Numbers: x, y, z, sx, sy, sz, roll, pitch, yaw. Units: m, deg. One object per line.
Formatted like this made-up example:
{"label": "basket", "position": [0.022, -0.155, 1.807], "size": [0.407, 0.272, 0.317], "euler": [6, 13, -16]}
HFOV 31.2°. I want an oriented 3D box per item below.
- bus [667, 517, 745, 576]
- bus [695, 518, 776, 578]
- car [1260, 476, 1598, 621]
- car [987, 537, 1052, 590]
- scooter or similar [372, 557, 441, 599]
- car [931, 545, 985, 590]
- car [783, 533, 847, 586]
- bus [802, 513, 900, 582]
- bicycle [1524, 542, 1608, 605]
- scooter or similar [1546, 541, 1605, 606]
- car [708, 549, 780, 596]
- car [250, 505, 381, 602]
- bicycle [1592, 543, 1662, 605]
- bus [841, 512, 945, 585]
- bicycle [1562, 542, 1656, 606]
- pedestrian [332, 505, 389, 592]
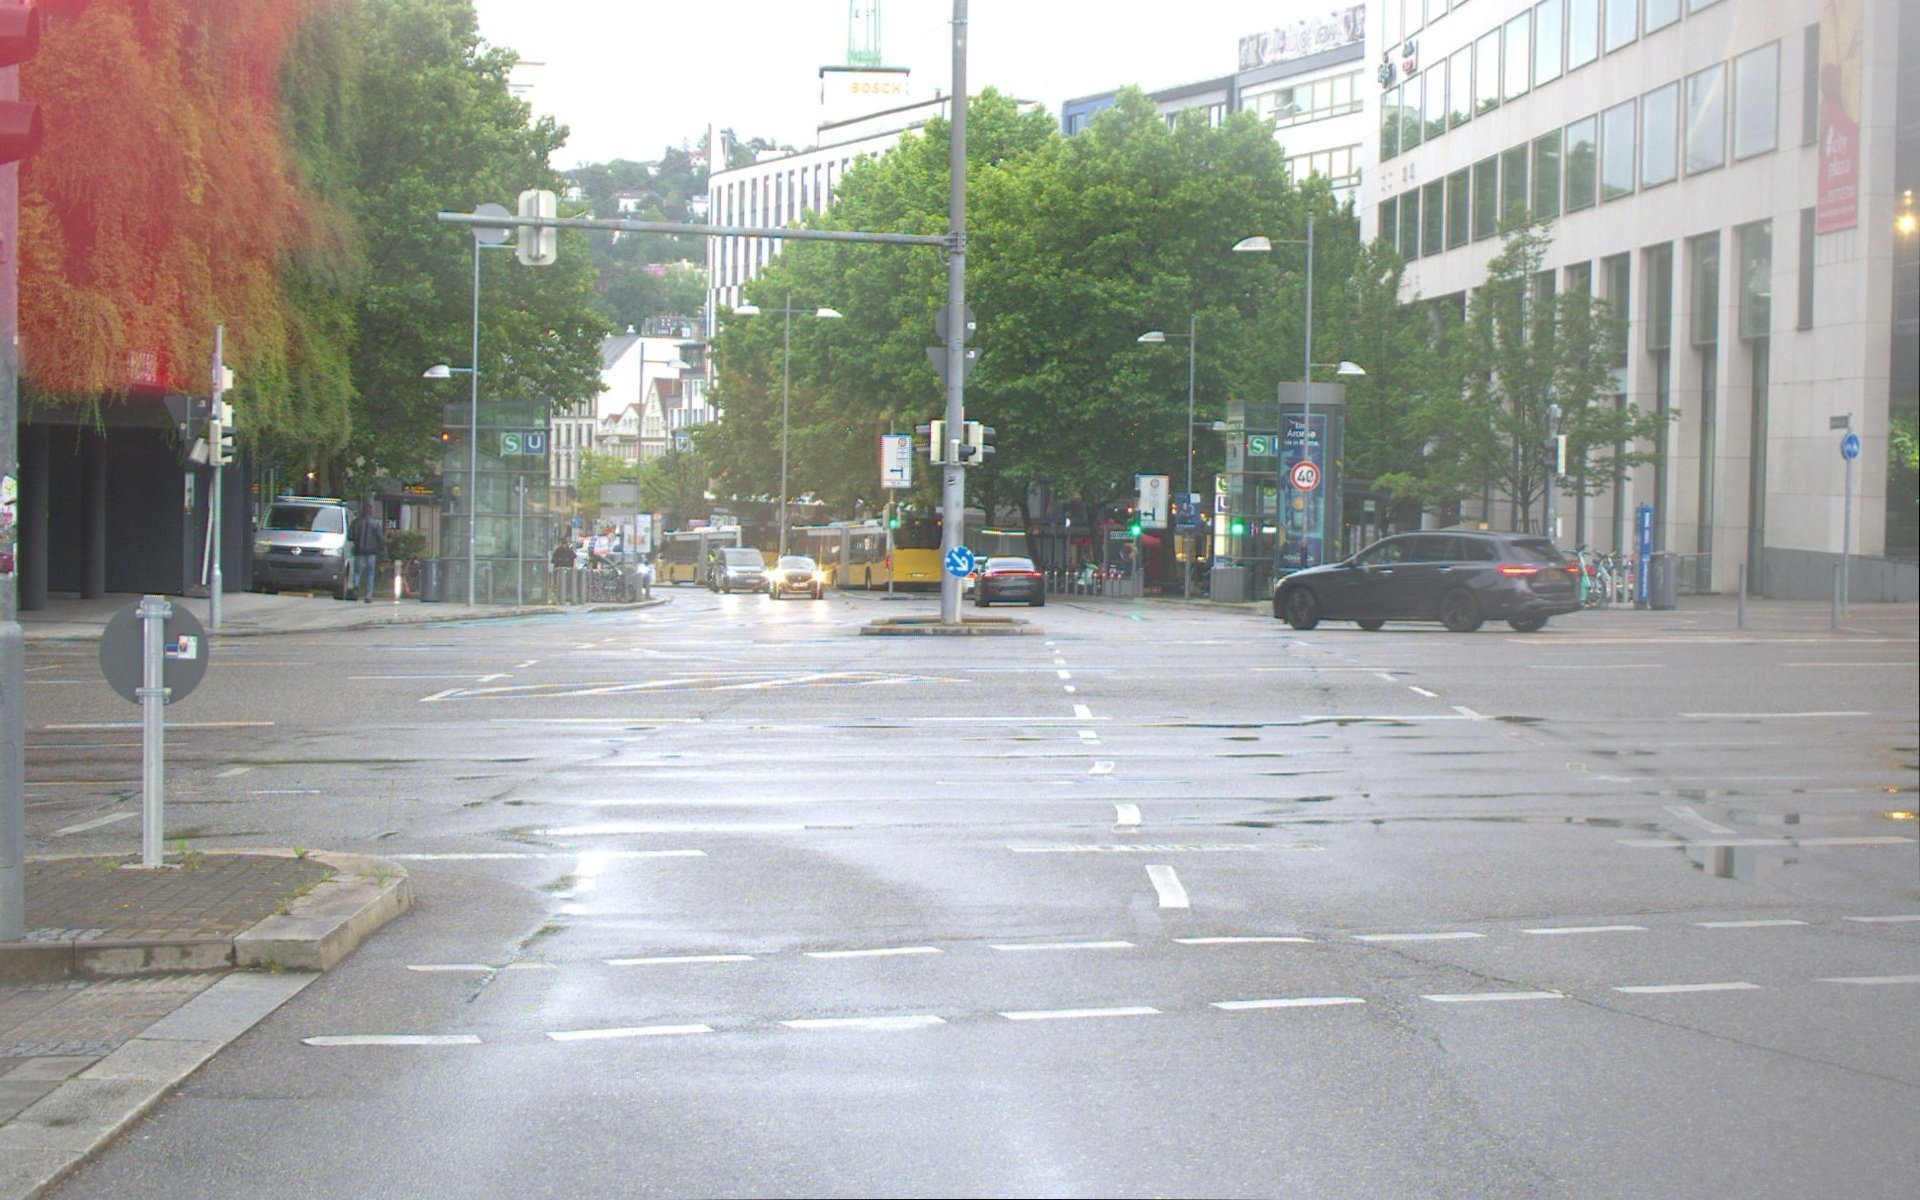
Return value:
{"label": "bus", "position": [-13.366, -2.827, 180.326], "size": [2.627, 2.985, 7.451], "euler": [0, 1, -16]}
{"label": "bus", "position": [-11.351, -2.650, 173.230], "size": [2.627, 2.985, 7.330], "euler": [0, 1, -16]}
{"label": "car", "position": [6.717, -0.752, 49.539], "size": [4.663, 2.007, 1.545], "euler": [1, 1, 38]}
{"label": "car", "position": [1.722, -1.057, 100.666], "size": [1.781, 1.503, 4.000], "euler": [1, 1, -1]}
{"label": "scooter or similar", "position": [-13.280, -0.536, 82.546], "size": [0.623, 1.001, 1.657], "euler": [1, 1, 38]}
{"label": "car", "position": [-0.081, -1.129, 118.436], "size": [1.781, 1.503, 4.000], "euler": [1, 1, -1]}
{"label": "car", "position": [-5.055, -1.426, 119.414], "size": [2.164, 1.759, 5.113], "euler": [0, 2, -3]}
{"label": "bus", "position": [-4.909, -2.358, 153.085], "size": [2.627, 2.985, 7.451], "euler": [0, 1, -16]}
{"label": "bicycle", "position": [11.696, -0.515, 66.393], "size": [0.584, 1.190, 1.783], "euler": [1, 1, -28]}
{"label": "scooter or similar", "position": [11.485, -0.495, 64.156], "size": [0.963, 1.190, 0.454], "euler": [1, 1, 40]}
{"label": "car", "position": [-8.483, -1.091, 134.665], "size": [2.163, 1.759, 4.832], "euler": [-1, 1, -11]}
{"label": "car", "position": [-12.773, -0.917, 68.328], "size": [1.870, 1.833, 4.000], "euler": [1, 1, -1]}
{"label": "bicycle", "position": [13.000, -0.502, 66.951], "size": [0.586, 1.190, 1.779], "euler": [1, 1, 38]}
{"label": "bus", "position": [-2.895, -2.208, 145.939], "size": [2.627, 2.985, 7.451], "euler": [0, 1, -16]}
{"label": "bicycle", "position": [12.239, -0.492, 64.841], "size": [1.624, 1.190, 0.586], "euler": [1, 0, 26]}
{"label": "pedestrian", "position": [-11.337, -0.971, 65.043], "size": [0.933, 1.638, 0.774], "euler": [1, 0, -1]}
